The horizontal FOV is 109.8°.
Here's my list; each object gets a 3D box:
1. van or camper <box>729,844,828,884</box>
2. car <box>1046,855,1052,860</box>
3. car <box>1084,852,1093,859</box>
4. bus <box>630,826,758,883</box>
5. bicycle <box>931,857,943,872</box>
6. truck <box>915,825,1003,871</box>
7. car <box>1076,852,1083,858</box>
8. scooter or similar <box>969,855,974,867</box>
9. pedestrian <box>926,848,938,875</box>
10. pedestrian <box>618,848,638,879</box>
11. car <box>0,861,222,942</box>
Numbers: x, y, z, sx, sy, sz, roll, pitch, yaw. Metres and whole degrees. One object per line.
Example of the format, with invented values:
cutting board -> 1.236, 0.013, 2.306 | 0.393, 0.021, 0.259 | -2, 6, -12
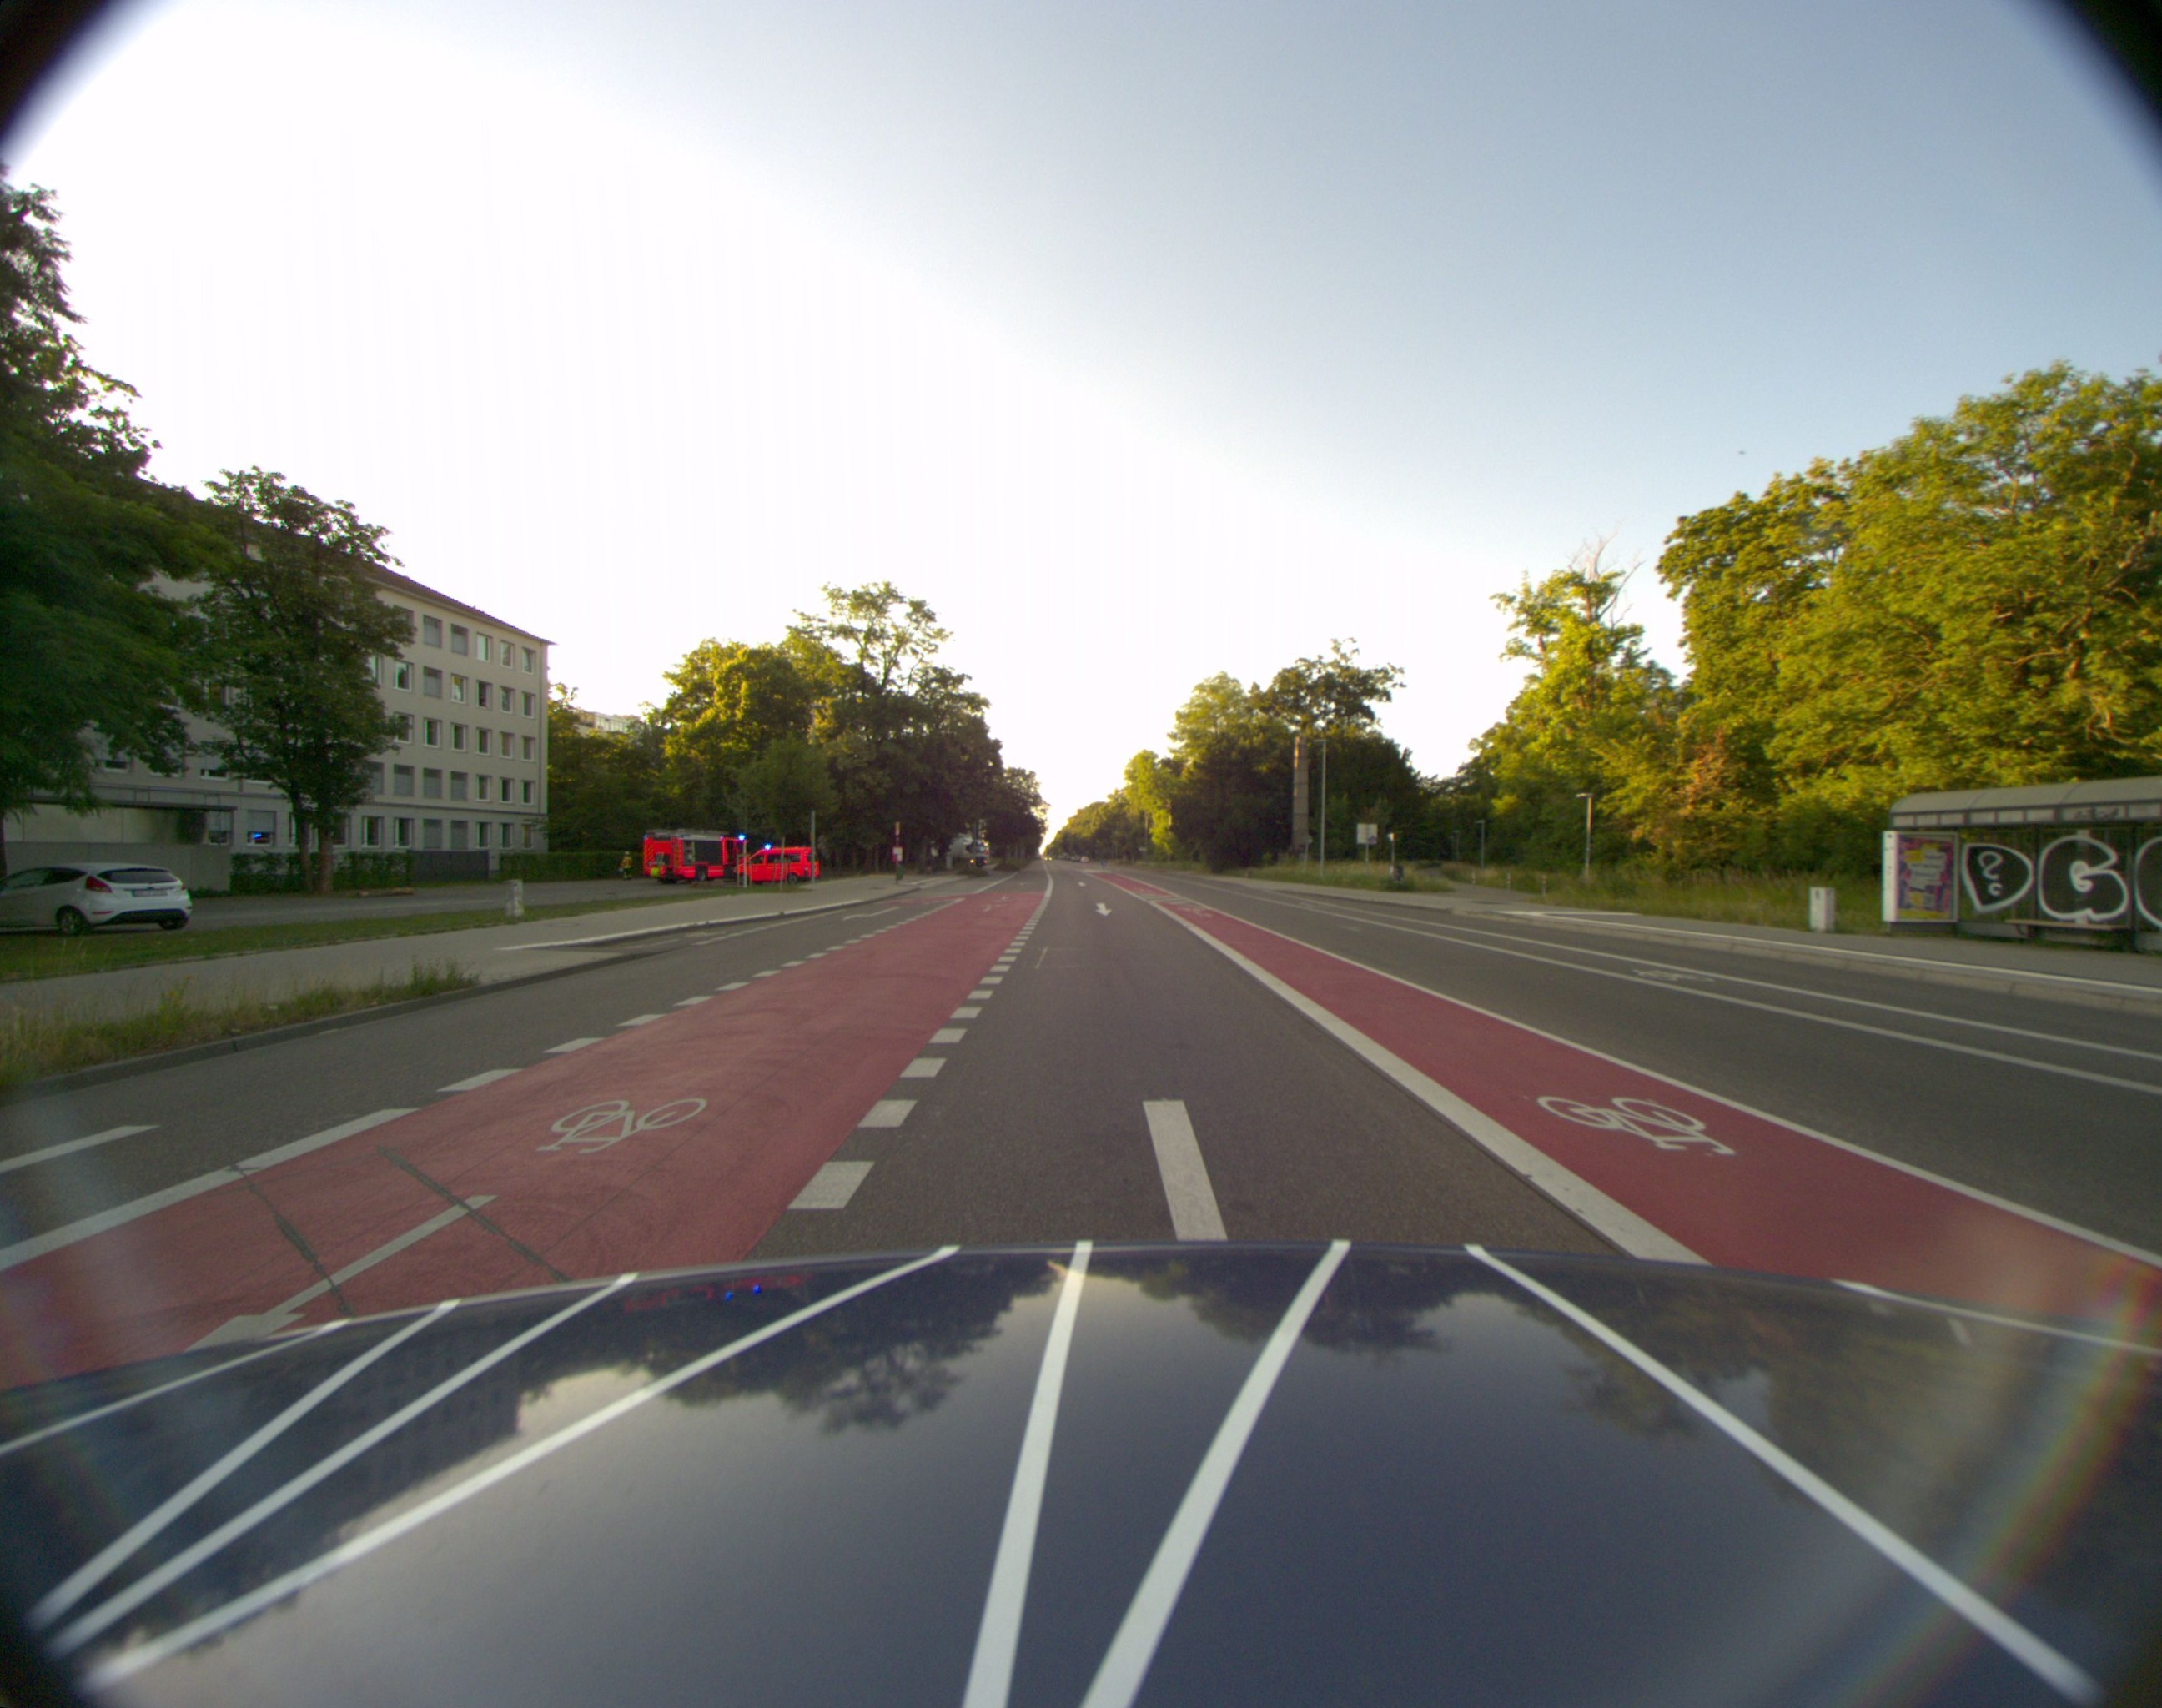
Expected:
van or camper -> -17.744, 0.574, 44.751 | 4.823, 2.232, 2.295 | -1, 1, 4
car -> -10.759, 1.091, 253.735 | 1.999, 1.608, 3.999 | 0, 0, -1
car -> 1.704, 0.339, 178.176 | 1.851, 1.406, 4.179 | 0, 0, -1
bus -> -23.685, 0.010, 47.123 | 2.993, 3.177, 7.968 | -1, 0, 8
bicycle -> -10.821, 0.806, 57.073 | 0.833, 1.091, 1.967 | 0, 0, -9
truck -> -16.117, -0.772, 98.728 | 5.169, 5.542, 15.043 | 0, 0, -35
car -> -0.426, 0.274, 197.242 | 1.754, 1.299, 3.999 | 1, 0, -2
scooter or similar -> -11.953, 0.734, 83.081 | 0.483, 1.274, 1.139 | 2, 0, -8
pedestrian -> -11.227, 0.581, 57.316 | 0.725, 2.002, 0.695 | 0, 1, -1
pedestrian -> -29.559, 0.585, 49.597 | 0.772, 2.002, 0.826 | 0, 1, 9
car -> -20.987, 0.964, 15.910 | 3.996, 1.528, 1.912 | -1, 1, 4
